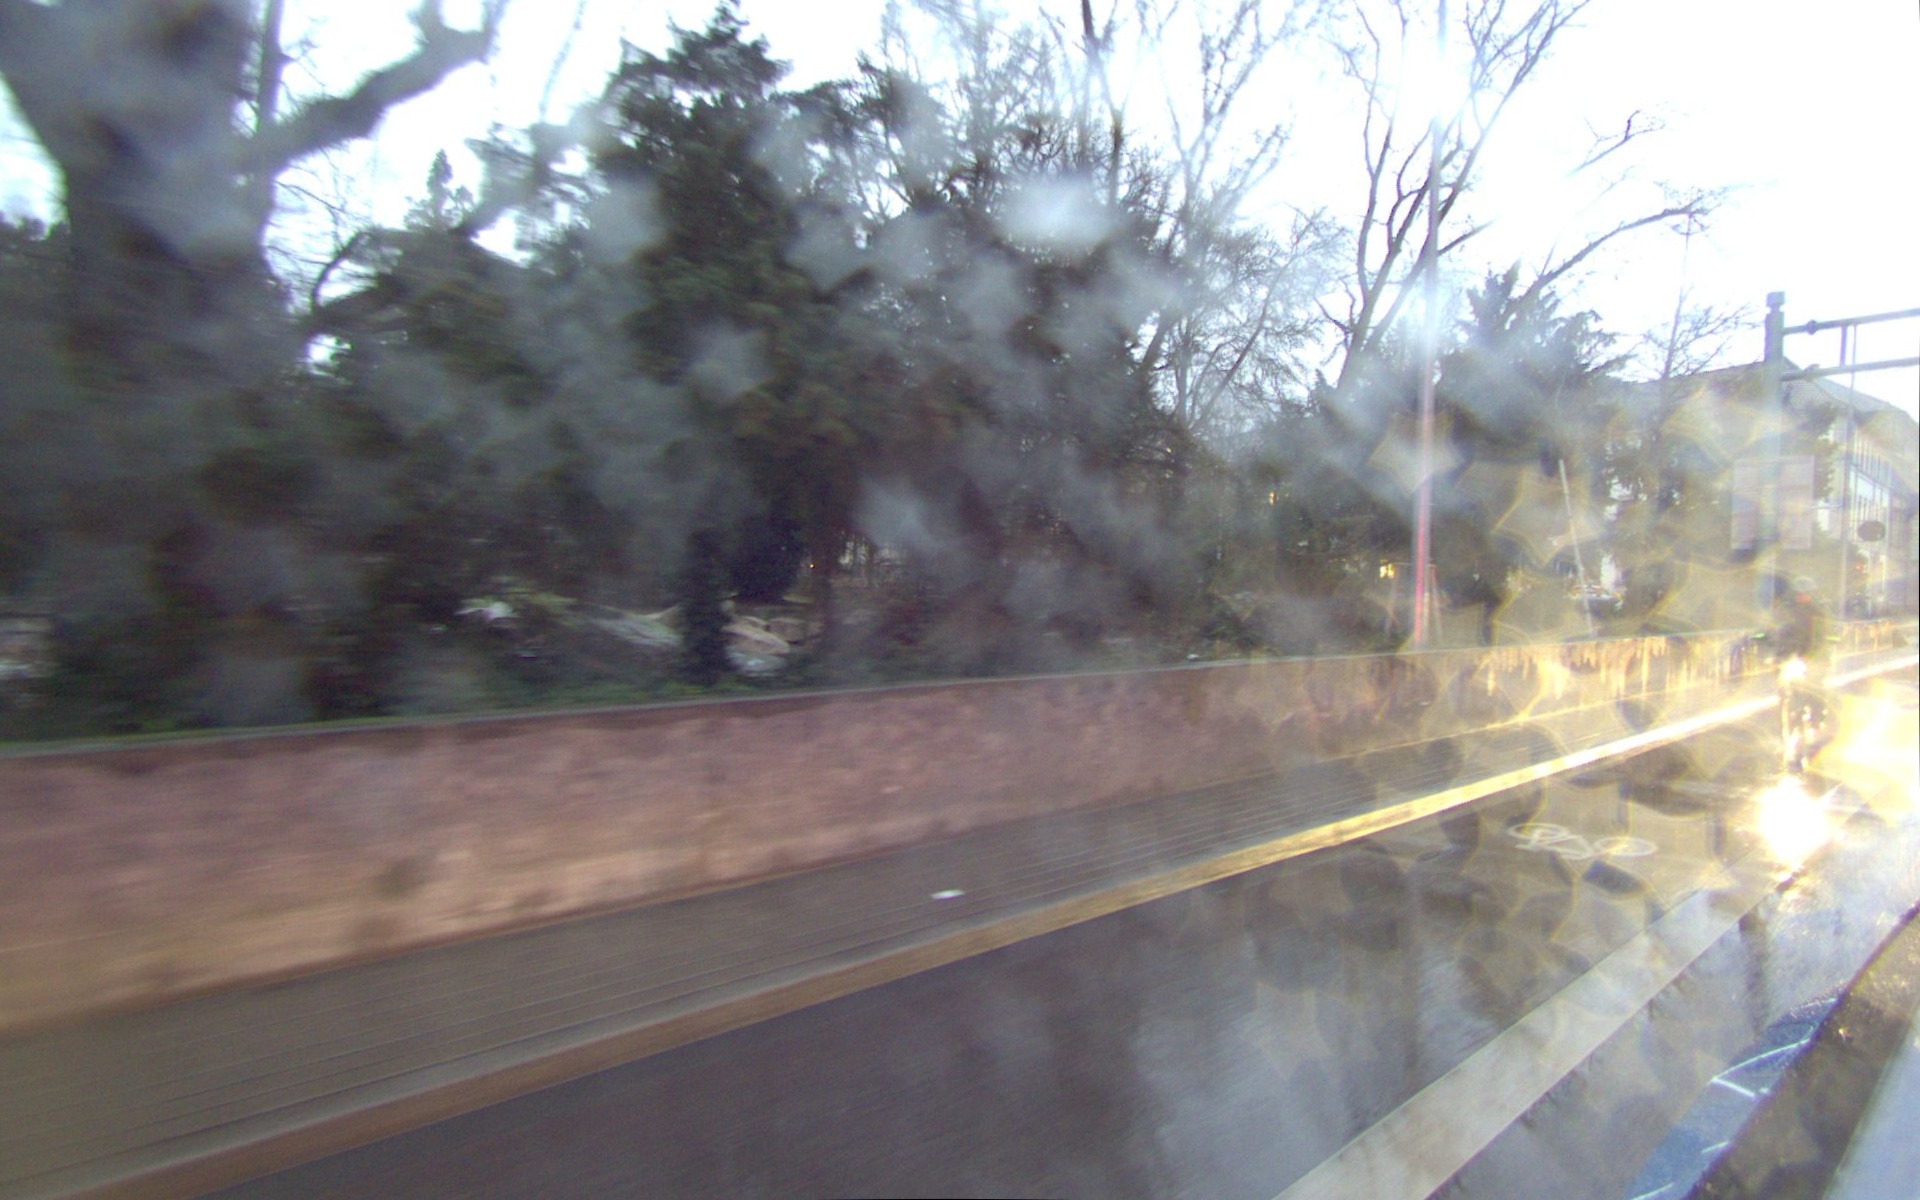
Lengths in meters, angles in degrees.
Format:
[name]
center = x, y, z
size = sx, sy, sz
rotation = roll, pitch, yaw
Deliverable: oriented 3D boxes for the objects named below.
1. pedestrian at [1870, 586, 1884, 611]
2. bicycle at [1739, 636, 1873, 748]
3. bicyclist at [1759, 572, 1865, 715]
[pedestrian]
center = 56.115, -0.091, 61.915
size = 0.577, 1.529, 0.520
rotation = 0, 2, -41
[bicycle]
center = 8.764, 0.898, 10.455
size = 2.009, 0.978, 0.647
rotation = 0, 2, -39
[bicyclist]
center = 8.837, 0.422, 10.493
size = 0.874, 1.406, 0.647
rotation = 0, 1, -38
